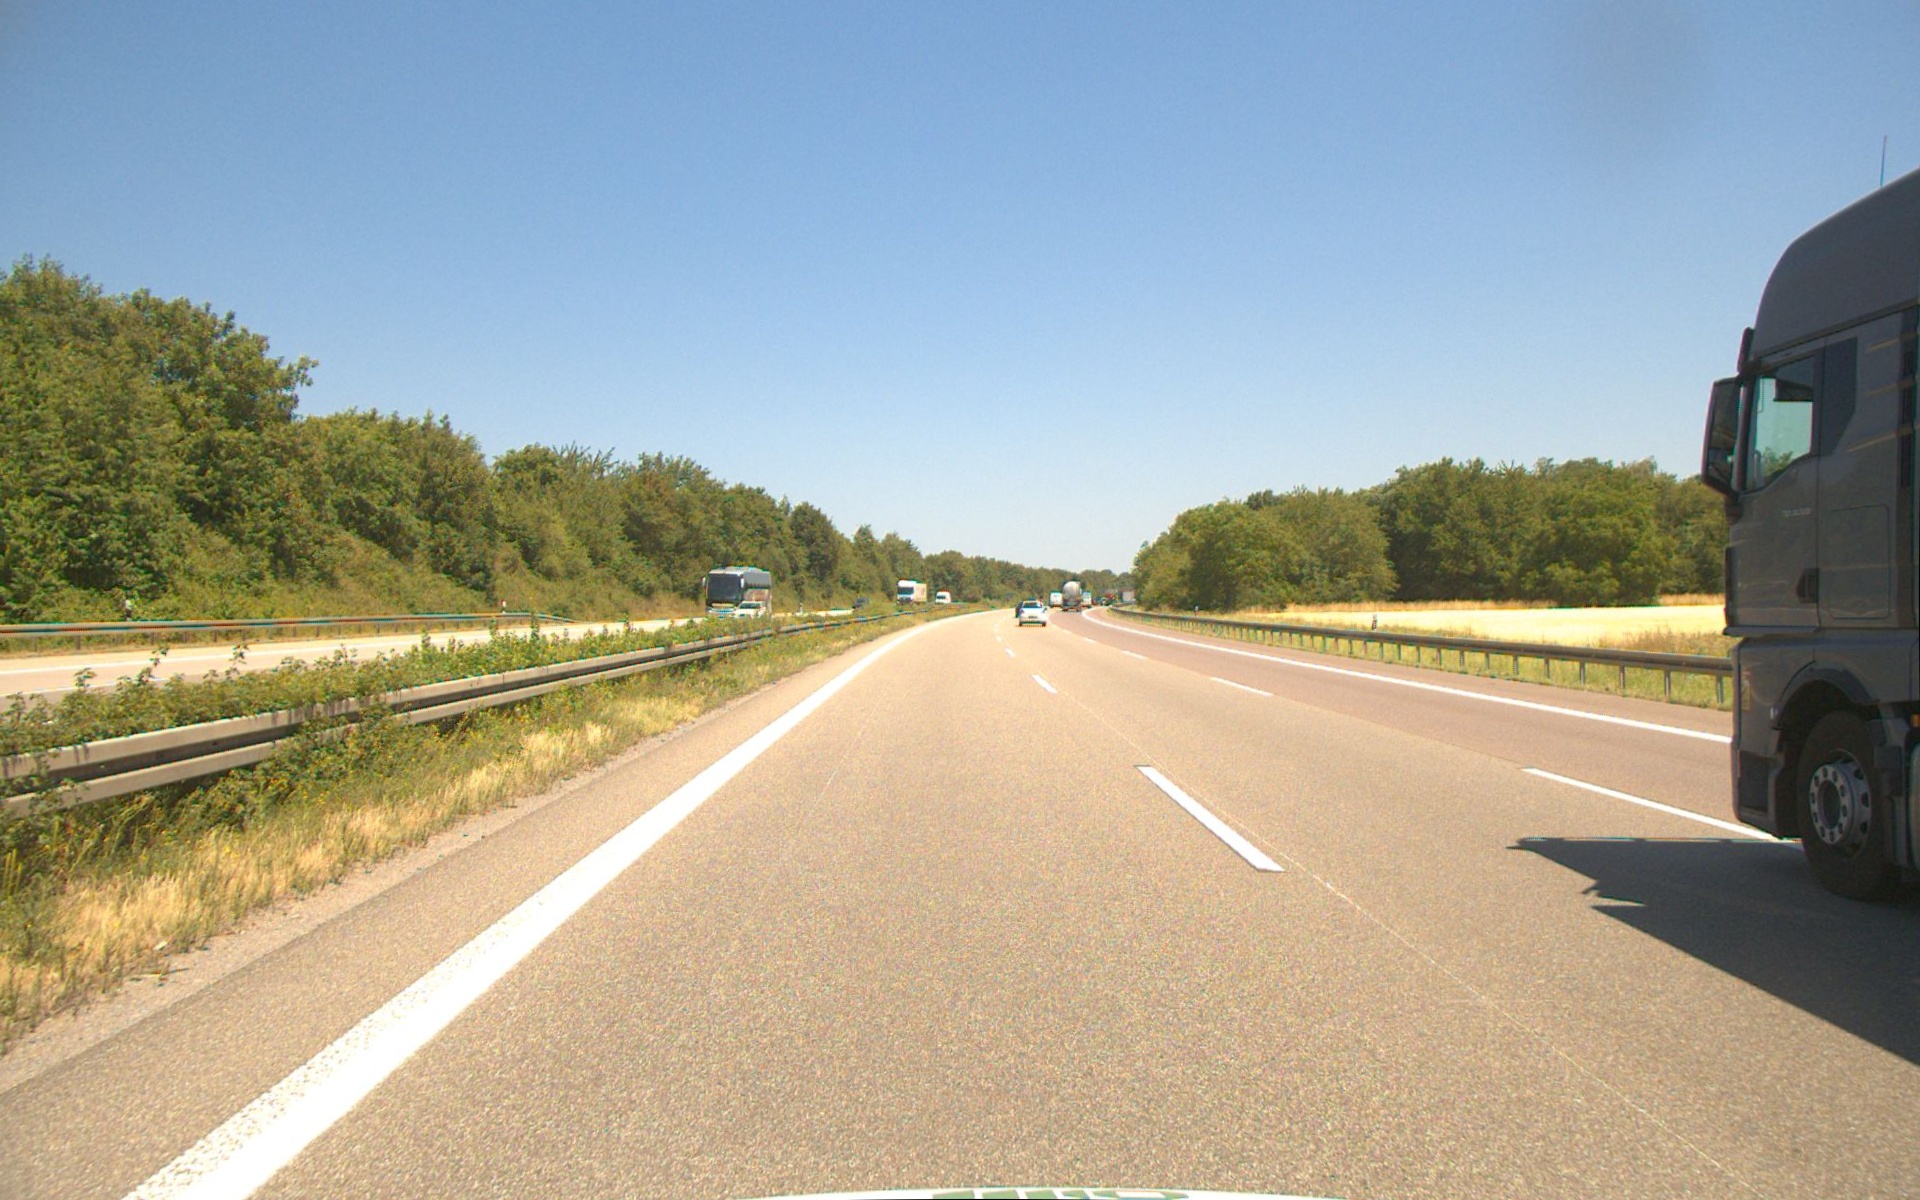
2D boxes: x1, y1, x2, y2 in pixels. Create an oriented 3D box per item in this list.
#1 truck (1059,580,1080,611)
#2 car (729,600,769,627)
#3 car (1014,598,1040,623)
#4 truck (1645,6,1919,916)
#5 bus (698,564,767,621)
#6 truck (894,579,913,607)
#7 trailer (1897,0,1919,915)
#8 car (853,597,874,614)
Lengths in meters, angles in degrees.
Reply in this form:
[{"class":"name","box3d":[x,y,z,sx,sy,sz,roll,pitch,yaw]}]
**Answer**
[{"class":"truck","box3d":[14.887,-0.606,225.490,2.682,4.123,10.458,0,0,3]},{"class":"car","box3d":[-12.642,0.816,99.164,1.731,1.541,4.331,1,0,1]},{"class":"car","box3d":[4.184,0.656,102.485,1.593,1.505,4.001,0,0,3]},{"class":"truck","box3d":[5.995,-0.655,8.596,2.848,4.330,4.975,1,0,1]},{"class":"bus","box3d":[-15.898,-0.471,116.640,2.684,3.772,13.002,1,0,2]},{"class":"truck","box3d":[-8.265,-1.053,242.077,2.646,4.035,4.443,0,0,1]},{"class":"trailer","box3d":[5.936,-0.868,1.022,2.841,4.739,13.986,1,0,0]},{"class":"car","box3d":[-9.684,0.532,166.213,1.788,1.660,4.559,0,0,1]}]
